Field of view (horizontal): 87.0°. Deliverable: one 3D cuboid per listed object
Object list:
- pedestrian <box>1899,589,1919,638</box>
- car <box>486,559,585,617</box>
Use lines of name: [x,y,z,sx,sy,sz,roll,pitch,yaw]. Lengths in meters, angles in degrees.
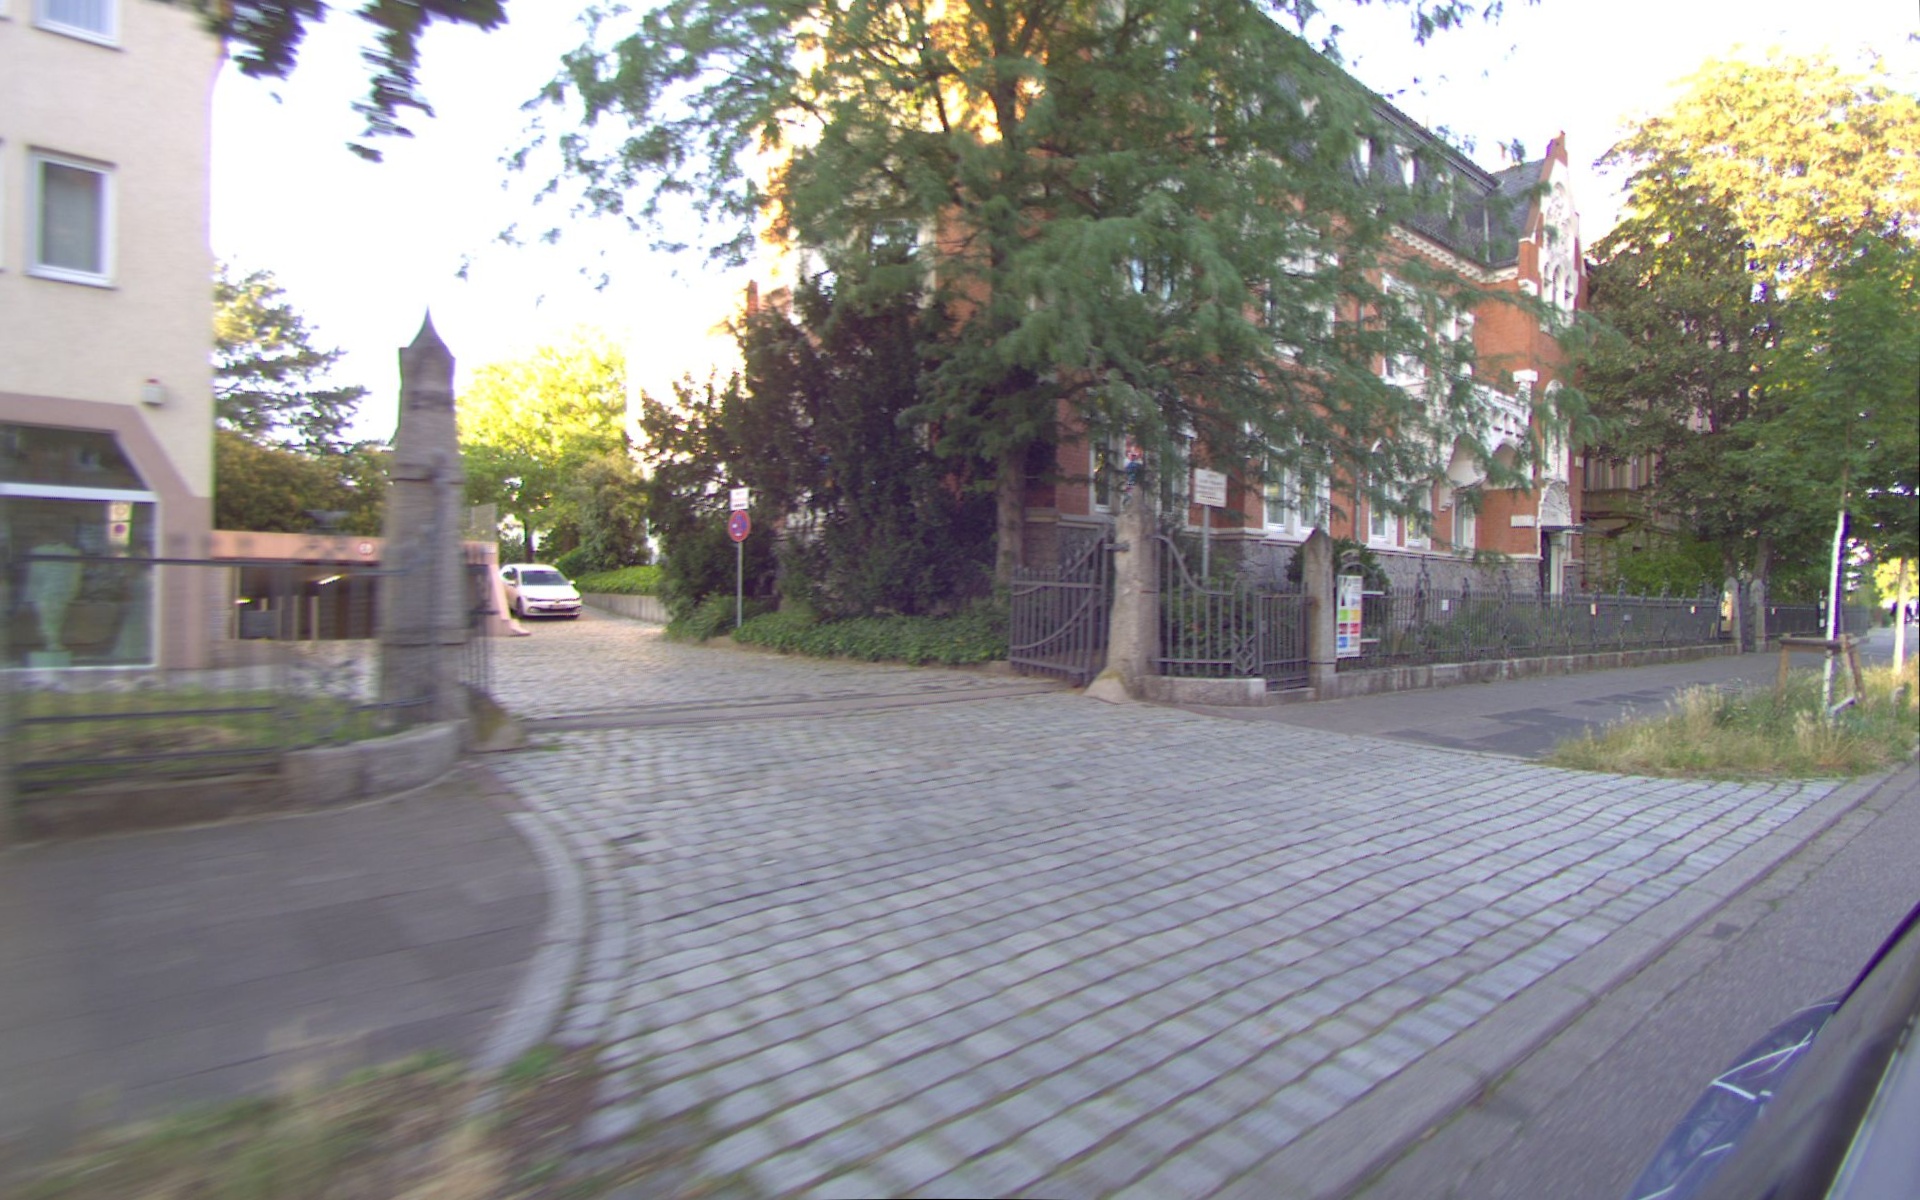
pedestrian: [35.589,0.498,37.634,0.743,1.800,0.821,4,3,34]
car: [-13.310,-0.420,31.607,1.788,1.504,4.455,0,4,-37]
